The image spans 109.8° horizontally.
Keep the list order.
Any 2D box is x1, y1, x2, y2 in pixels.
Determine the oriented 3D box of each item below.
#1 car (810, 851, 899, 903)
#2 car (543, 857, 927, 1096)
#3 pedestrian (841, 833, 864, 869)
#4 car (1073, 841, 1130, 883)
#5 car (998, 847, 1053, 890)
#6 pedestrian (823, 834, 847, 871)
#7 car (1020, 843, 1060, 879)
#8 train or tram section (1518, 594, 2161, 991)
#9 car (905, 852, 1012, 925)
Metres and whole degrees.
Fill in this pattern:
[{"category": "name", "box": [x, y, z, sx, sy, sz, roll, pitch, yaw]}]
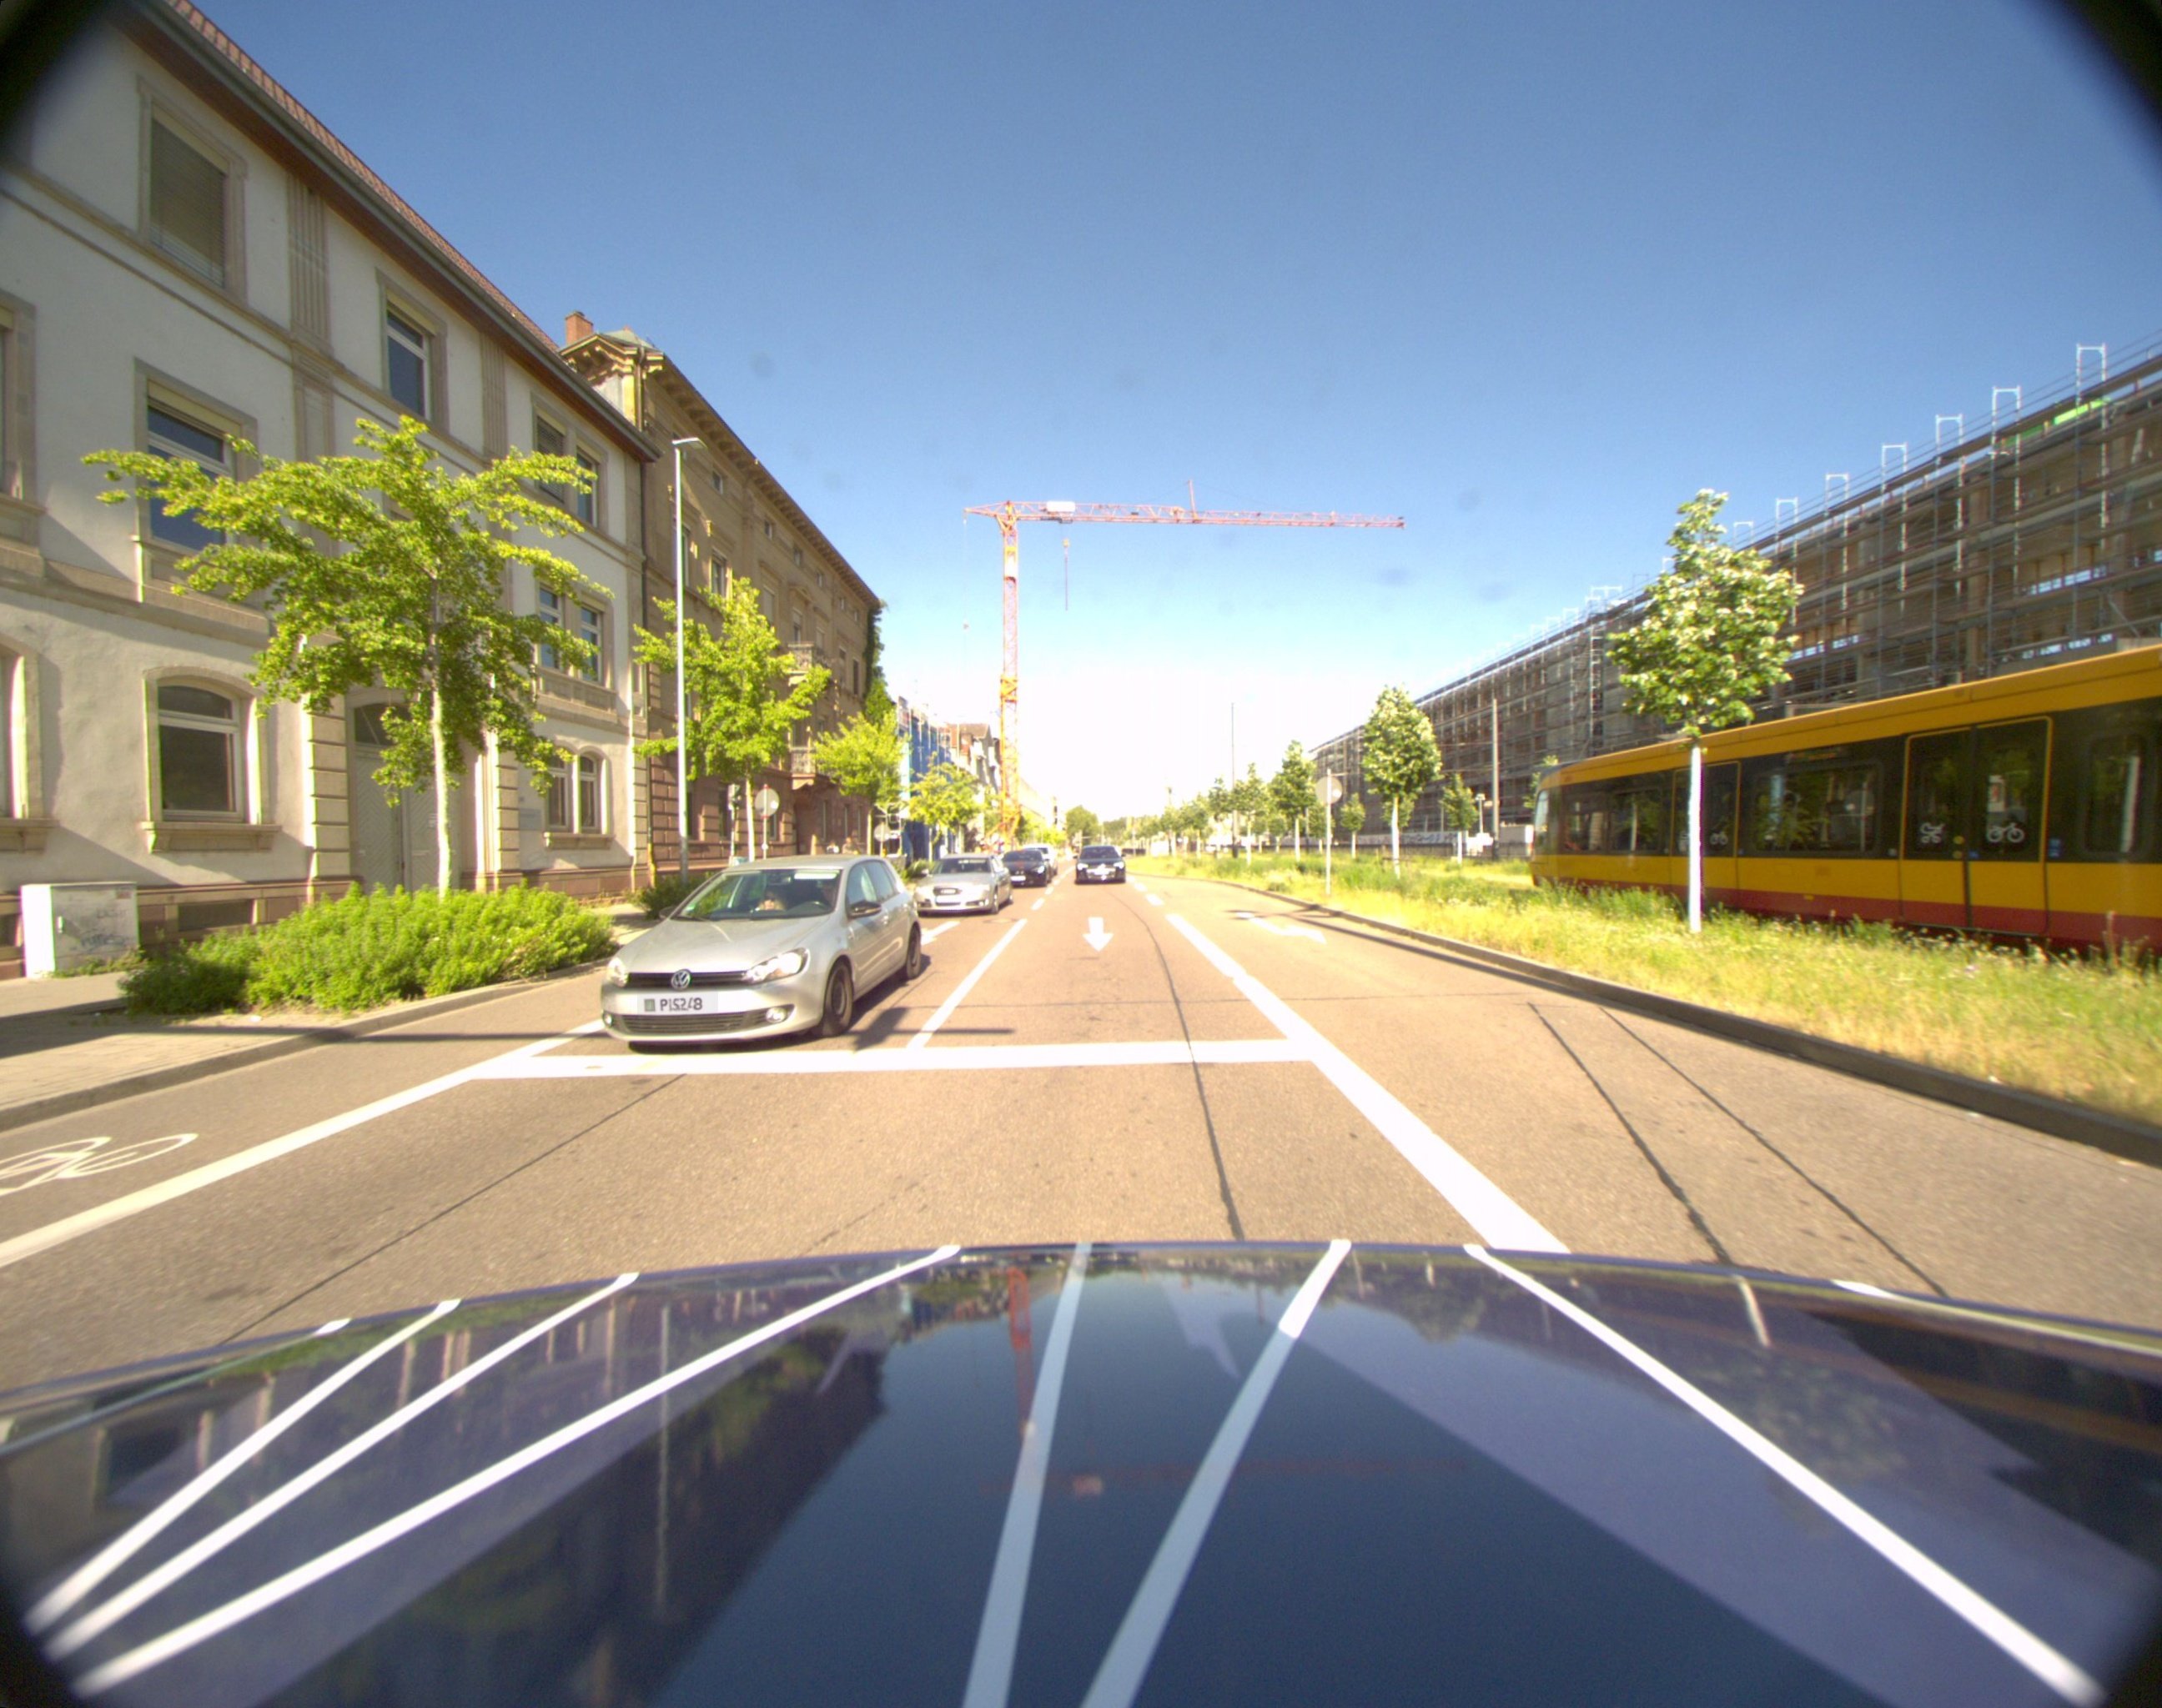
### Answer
[{"category": "car", "box": [-7.219, 0.680, 24.616, 1.610, 1.435, 3.999, 0, 2, 1]}, {"category": "car", "box": [-2.756, 0.849, 7.180, 1.703, 1.466, 3.999, -2, 1, 1]}, {"category": "pedestrian", "box": [-9.966, -0.136, 33.160, 0.669, 1.553, 0.906, -2, 2, -1]}, {"category": "car", "box": [0.725, 0.271, 29.678, 1.999, 1.493, 3.998, -1, 1, -1]}, {"category": "car", "box": [-2.059, 0.487, 29.044, 1.703, 1.416, 3.999, -2, 1, 1]}, {"category": "pedestrian", "box": [-10.712, -0.085, 33.089, 0.669, 1.553, 0.906, -2, 2, -1]}, {"category": "car", "box": [-1.990, 0.292, 37.976, 1.703, 1.622, 3.999, -2, 2, 1]}, {"category": "train or tram section", "box": [11.339, -0.718, 11.819, 1.998, 3.648, 14.153, -2, 1, 5]}, {"category": "car", "box": [-2.790, 0.728, 18.247, 1.839, 1.416, 3.999, -2, 1, 1]}]
